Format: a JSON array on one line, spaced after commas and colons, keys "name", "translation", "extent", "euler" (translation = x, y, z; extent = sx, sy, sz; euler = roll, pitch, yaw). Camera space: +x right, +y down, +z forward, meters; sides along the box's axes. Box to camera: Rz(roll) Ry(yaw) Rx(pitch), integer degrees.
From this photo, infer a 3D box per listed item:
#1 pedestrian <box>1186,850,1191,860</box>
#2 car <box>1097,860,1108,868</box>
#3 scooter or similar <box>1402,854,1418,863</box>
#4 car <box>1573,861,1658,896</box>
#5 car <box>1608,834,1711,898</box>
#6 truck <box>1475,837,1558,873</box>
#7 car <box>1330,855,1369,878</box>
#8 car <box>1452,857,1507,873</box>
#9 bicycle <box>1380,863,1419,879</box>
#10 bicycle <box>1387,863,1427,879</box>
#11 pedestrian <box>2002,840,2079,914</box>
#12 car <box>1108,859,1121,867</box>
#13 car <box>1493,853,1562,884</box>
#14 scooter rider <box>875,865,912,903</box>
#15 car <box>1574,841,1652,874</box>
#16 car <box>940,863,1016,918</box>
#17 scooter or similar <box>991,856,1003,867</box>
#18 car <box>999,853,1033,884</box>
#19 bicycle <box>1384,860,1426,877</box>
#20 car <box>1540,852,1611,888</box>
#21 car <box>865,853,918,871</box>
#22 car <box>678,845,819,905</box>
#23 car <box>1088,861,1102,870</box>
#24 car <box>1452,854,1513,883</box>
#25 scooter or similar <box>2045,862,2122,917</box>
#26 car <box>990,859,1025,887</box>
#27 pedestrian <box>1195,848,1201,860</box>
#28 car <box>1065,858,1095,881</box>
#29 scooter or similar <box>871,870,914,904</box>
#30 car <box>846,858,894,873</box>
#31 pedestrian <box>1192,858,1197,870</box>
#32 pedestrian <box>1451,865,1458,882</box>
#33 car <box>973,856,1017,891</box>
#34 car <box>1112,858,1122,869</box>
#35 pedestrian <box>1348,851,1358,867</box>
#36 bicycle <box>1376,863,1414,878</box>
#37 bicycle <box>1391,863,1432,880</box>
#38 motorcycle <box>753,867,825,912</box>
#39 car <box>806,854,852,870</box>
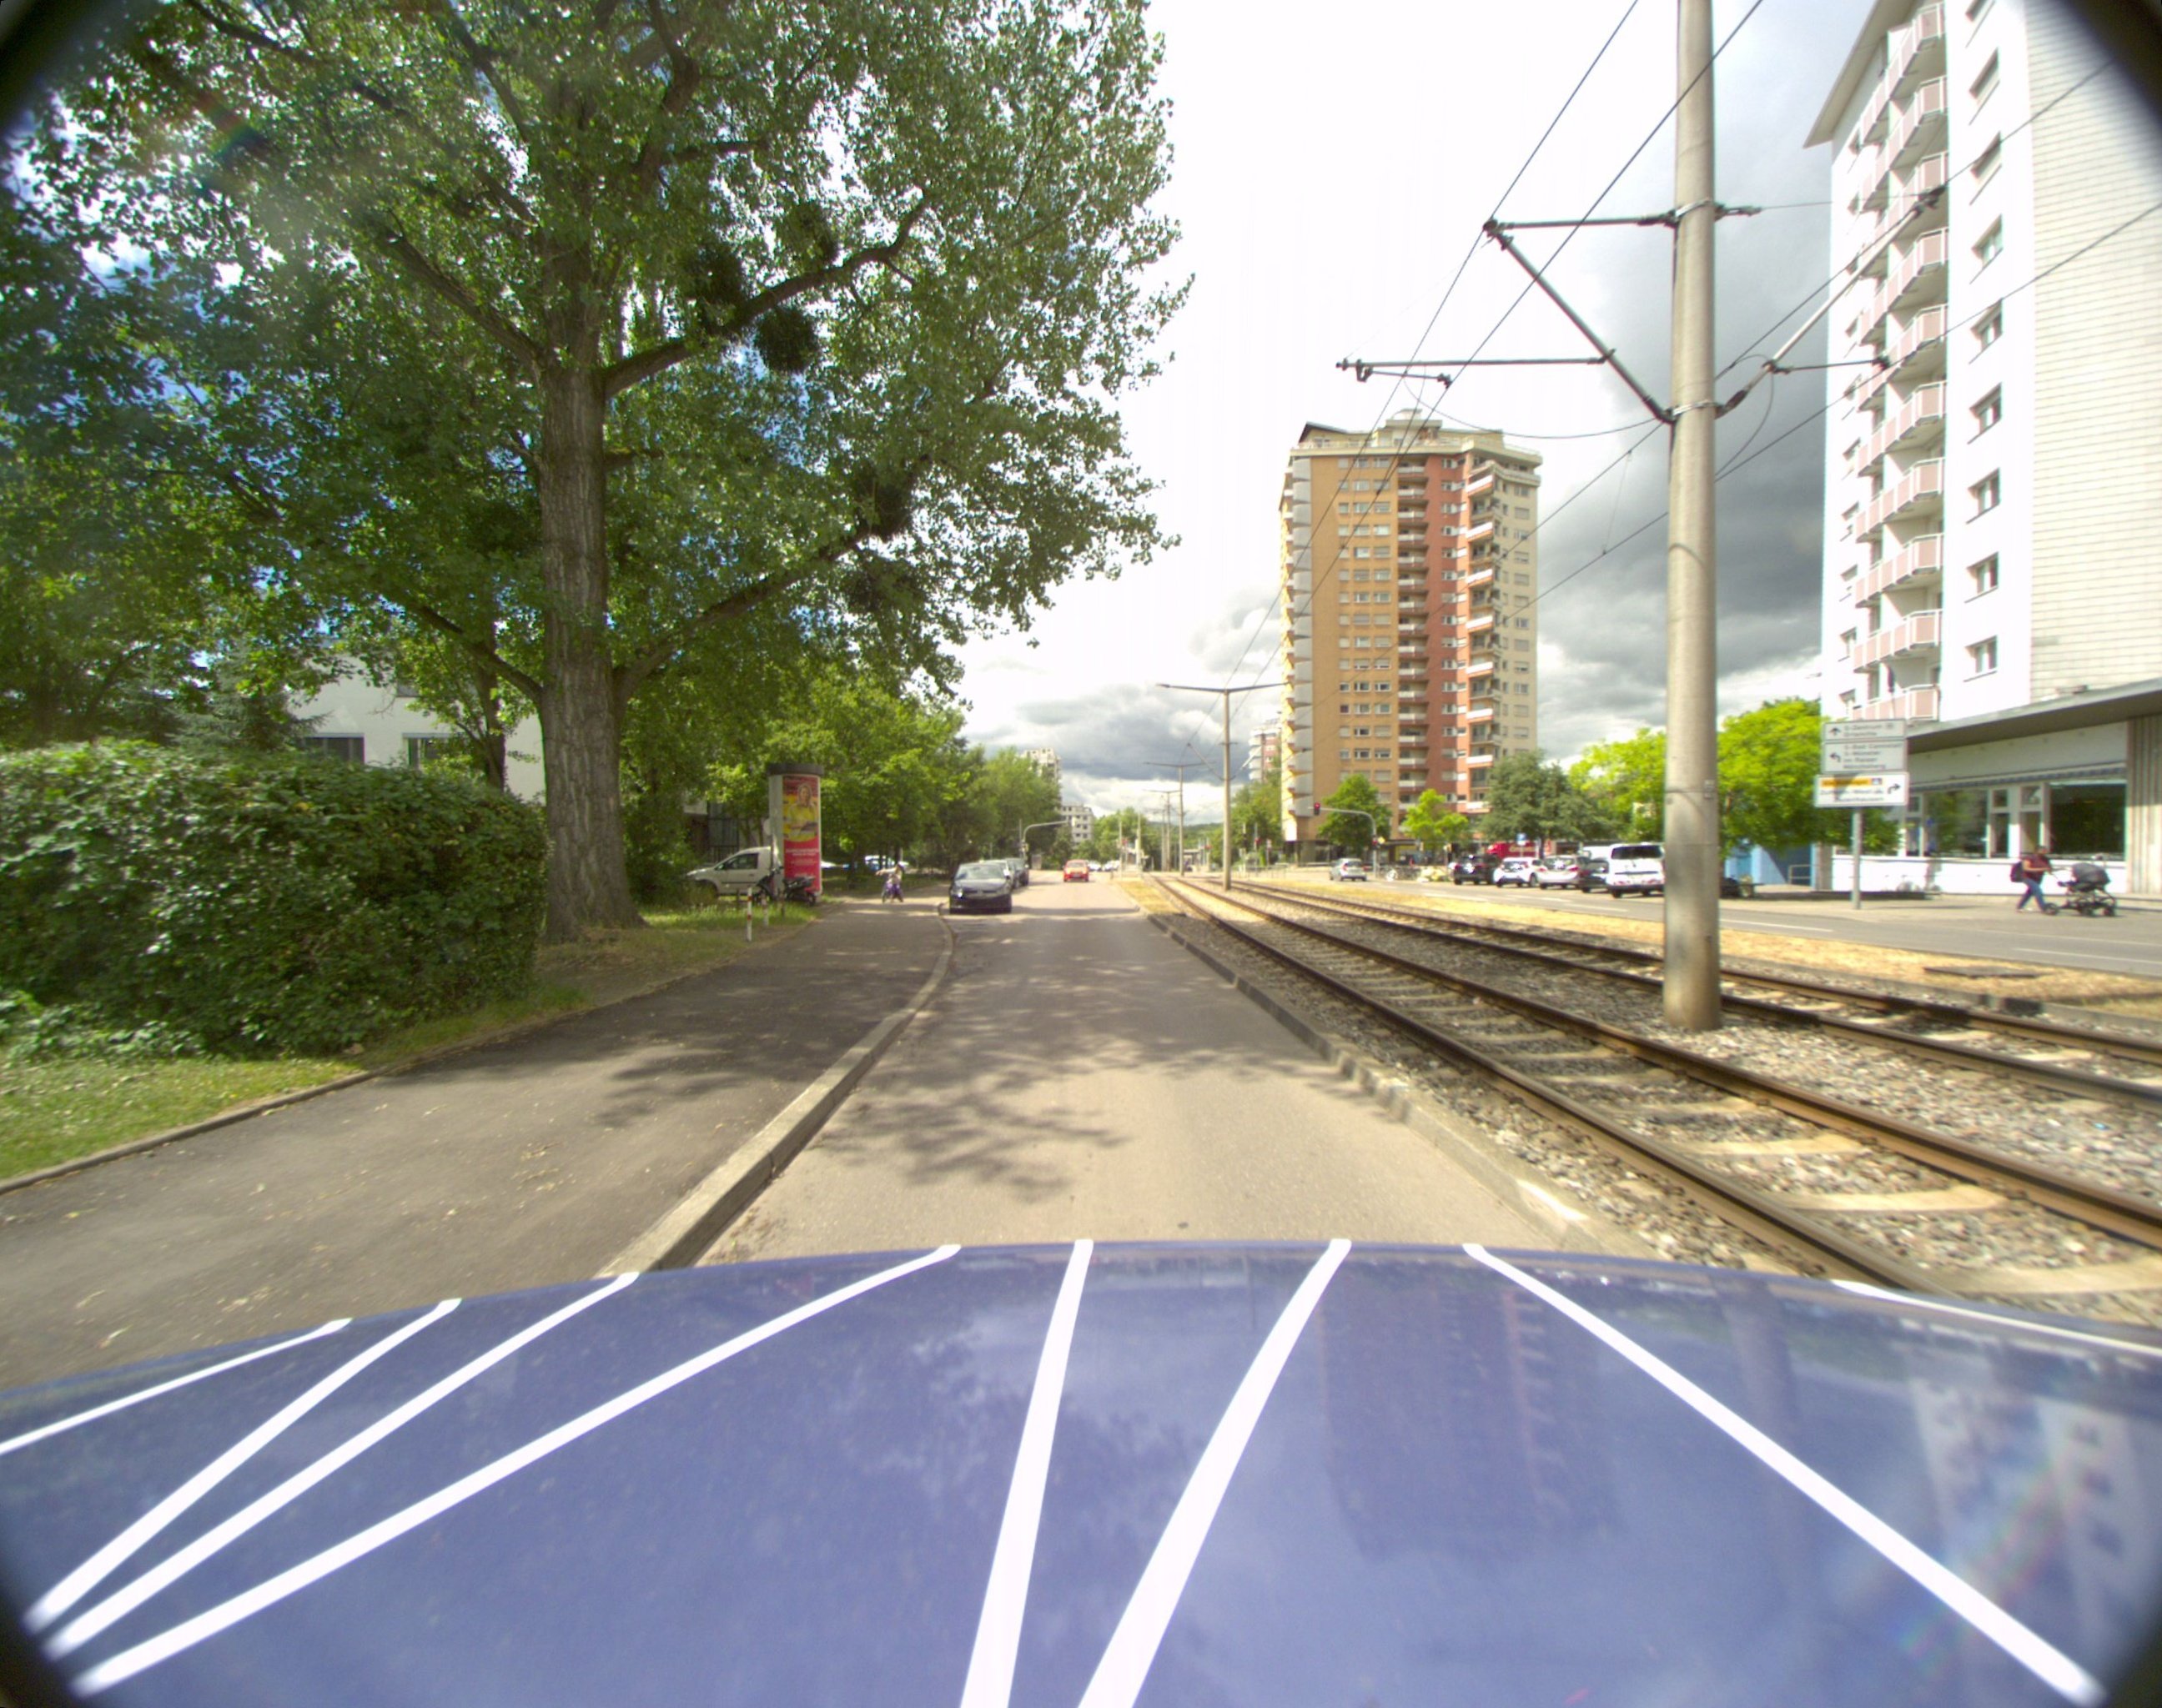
[{"name": "pedestrian", "translation": [18.371, 0.174, 130.030], "extent": [0.865, 1.596, 0.747], "euler": [1, 0, 3]}, {"name": "car", "translation": [3.718, 1.779, 129.517], "extent": [1.780, 1.319, 3.726], "euler": [1, -1, 1]}, {"name": "scooter or similar", "translation": [40.341, 0.503, 93.239], "extent": [1.751, 1.087, 0.545], "euler": [1, 0, 0]}, {"name": "car", "translation": [22.549, 1.002, 31.992], "extent": [4.008, 1.375, 1.901], "euler": [1, -1, -39]}, {"name": "car", "translation": [21.156, 0.432, 27.720], "extent": [4.772, 2.144, 1.901], "euler": [1, 0, -39]}, {"name": "truck", "translation": [45.870, 0.114, 80.146], "extent": [7.089, 3.653, 2.549], "euler": [1, 0, 9]}, {"name": "car", "translation": [18.889, 0.853, 53.612], "extent": [1.822, 1.523, 3.757], "euler": [1, 0, 6]}, {"name": "car", "translation": [37.470, 1.009, 71.593], "extent": [4.268, 1.442, 1.797], "euler": [1, 0, 12]}, {"name": "bicycle", "translation": [22.588, 1.202, 53.965], "extent": [2.432, 1.060, 0.705], "euler": [1, 0, 3]}, {"name": "bicycle", "translation": [22.472, 1.185, 52.385], "extent": [2.432, 1.060, 0.705], "euler": [1, 0, 3]}, {"name": "pedestrian", "translation": [21.236, 0.507, 16.839], "extent": [0.514, 1.562, 0.987], "euler": [-2, -1, 12]}, {"name": "car", "translation": [4.824, 1.314, 109.952], "extent": [1.805, 1.207, 4.023], "euler": [1, -1, 4]}, {"name": "car", "translation": [22.708, 0.724, 38.596], "extent": [3.774, 1.487, 1.742], "euler": [1, 0, -37]}, {"name": "scooter rider", "translation": [-6.206, 0.987, 25.197], "extent": [0.887, 1.213, 1.282], "euler": [1, -1, -1]}, {"name": "car", "translation": [54.744, 0.402, 78.355], "extent": [6.294, 3.279, 2.002], "euler": [1, 0, 11]}, {"name": "car", "translation": [-2.928, 1.000, 22.361], "extent": [1.820, 1.440, 3.826], "euler": [1, 0, -2]}, {"name": "scooter or similar", "translation": [-9.507, 0.803, 85.816], "extent": [1.212, 1.227, 0.478], "euler": [1, 0, -24]}, {"name": "car", "translation": [-3.861, 0.864, 45.603], "extent": [1.648, 1.752, 4.569], "euler": [1, 0, -1]}, {"name": "bicycle", "translation": [21.362, 0.949, 50.165], "extent": [2.432, 1.028, 0.717], "euler": [-1, 0, 3]}, {"name": "car", "translation": [23.336, 0.733, 35.794], "extent": [4.009, 1.622, 1.901], "euler": [1, -1, -43]}, {"name": "car", "translation": [-18.043, 0.730, 72.530], "extent": [4.655, 1.583, 1.922], "euler": [1, 2, -4]}, {"name": "car", "translation": [-10.631, 0.669, 24.537], "extent": [4.004, 1.812, 1.807], "euler": [1, 0, -21]}, {"name": "car", "translation": [1.988, 1.524, 103.961], "extent": [1.605, 1.207, 3.773], "euler": [1, -1, 5]}, {"name": "car", "translation": [22.937, 0.833, 43.321], "extent": [4.009, 1.582, 1.927], "euler": [1, -1, -44]}, {"name": "scooter or similar", "translation": [21.043, 0.736, 15.968], "extent": [0.580, 1.117, 0.770], "euler": [-3, -1, 13]}, {"name": "car", "translation": [-3.932, 1.005, 41.107], "extent": [1.648, 1.449, 4.075], "euler": [1, -1, -2]}, {"name": "pedestrian", "translation": [18.317, -0.007, 118.821], "extent": [0.865, 1.763, 0.747], "euler": [1, 0, 3]}, {"name": "car", "translation": [-0.030, 1.020, 52.637], "extent": [1.818, 1.483, 4.001], "euler": [-1, 0, 4]}, {"name": "scooter or similar", "translation": [-6.210, 1.080, 25.138], "extent": [0.892, 1.058, 2.114], "euler": [1, -1, -1]}, {"name": "car", "translation": [-19.247, 1.064, 69.393], "extent": [3.970, 1.218, 1.912], "euler": [1, 2, -4]}, {"name": "pedestrian", "translation": [18.839, 1.712, 125.939], "extent": [0.770, 1.920, 0.573], "euler": [1, 0, 2]}, {"name": "pedestrian", "translation": [33.066, 1.696, 67.184], "extent": [0.517, 1.463, 0.527], "euler": [1, 0, 29]}, {"name": "car", "translation": [-4.032, 0.909, 36.355], "extent": [1.789, 1.556, 4.568], "euler": [1, -1, -3]}, {"name": "car", "translation": [7.584, 1.963, 159.741], "extent": [1.998, 2.135, 4.000], "euler": [1, 0, 0]}, {"name": "pedestrian", "translation": [33.079, 0.585, 92.335], "extent": [0.920, 1.923, 0.854], "euler": [1, 0, 3]}, {"name": "bicycle", "translation": [22.629, 1.211, 54.763], "extent": [2.432, 1.060, 0.705], "euler": [1, 0, 3]}, {"name": "bicycle", "translation": [22.460, 1.177, 51.608], "extent": [2.432, 1.060, 0.705], "euler": [1, 0, 3]}, {"name": "motorcycle", "translation": [-8.047, 0.964, 20.994], "extent": [1.803, 1.203, 0.711], "euler": [1, 0, -21]}, {"name": "car", "translation": [-24.055, 0.724, 72.475], "extent": [3.897, 1.405, 1.607], "euler": [1, 2, -6]}]
